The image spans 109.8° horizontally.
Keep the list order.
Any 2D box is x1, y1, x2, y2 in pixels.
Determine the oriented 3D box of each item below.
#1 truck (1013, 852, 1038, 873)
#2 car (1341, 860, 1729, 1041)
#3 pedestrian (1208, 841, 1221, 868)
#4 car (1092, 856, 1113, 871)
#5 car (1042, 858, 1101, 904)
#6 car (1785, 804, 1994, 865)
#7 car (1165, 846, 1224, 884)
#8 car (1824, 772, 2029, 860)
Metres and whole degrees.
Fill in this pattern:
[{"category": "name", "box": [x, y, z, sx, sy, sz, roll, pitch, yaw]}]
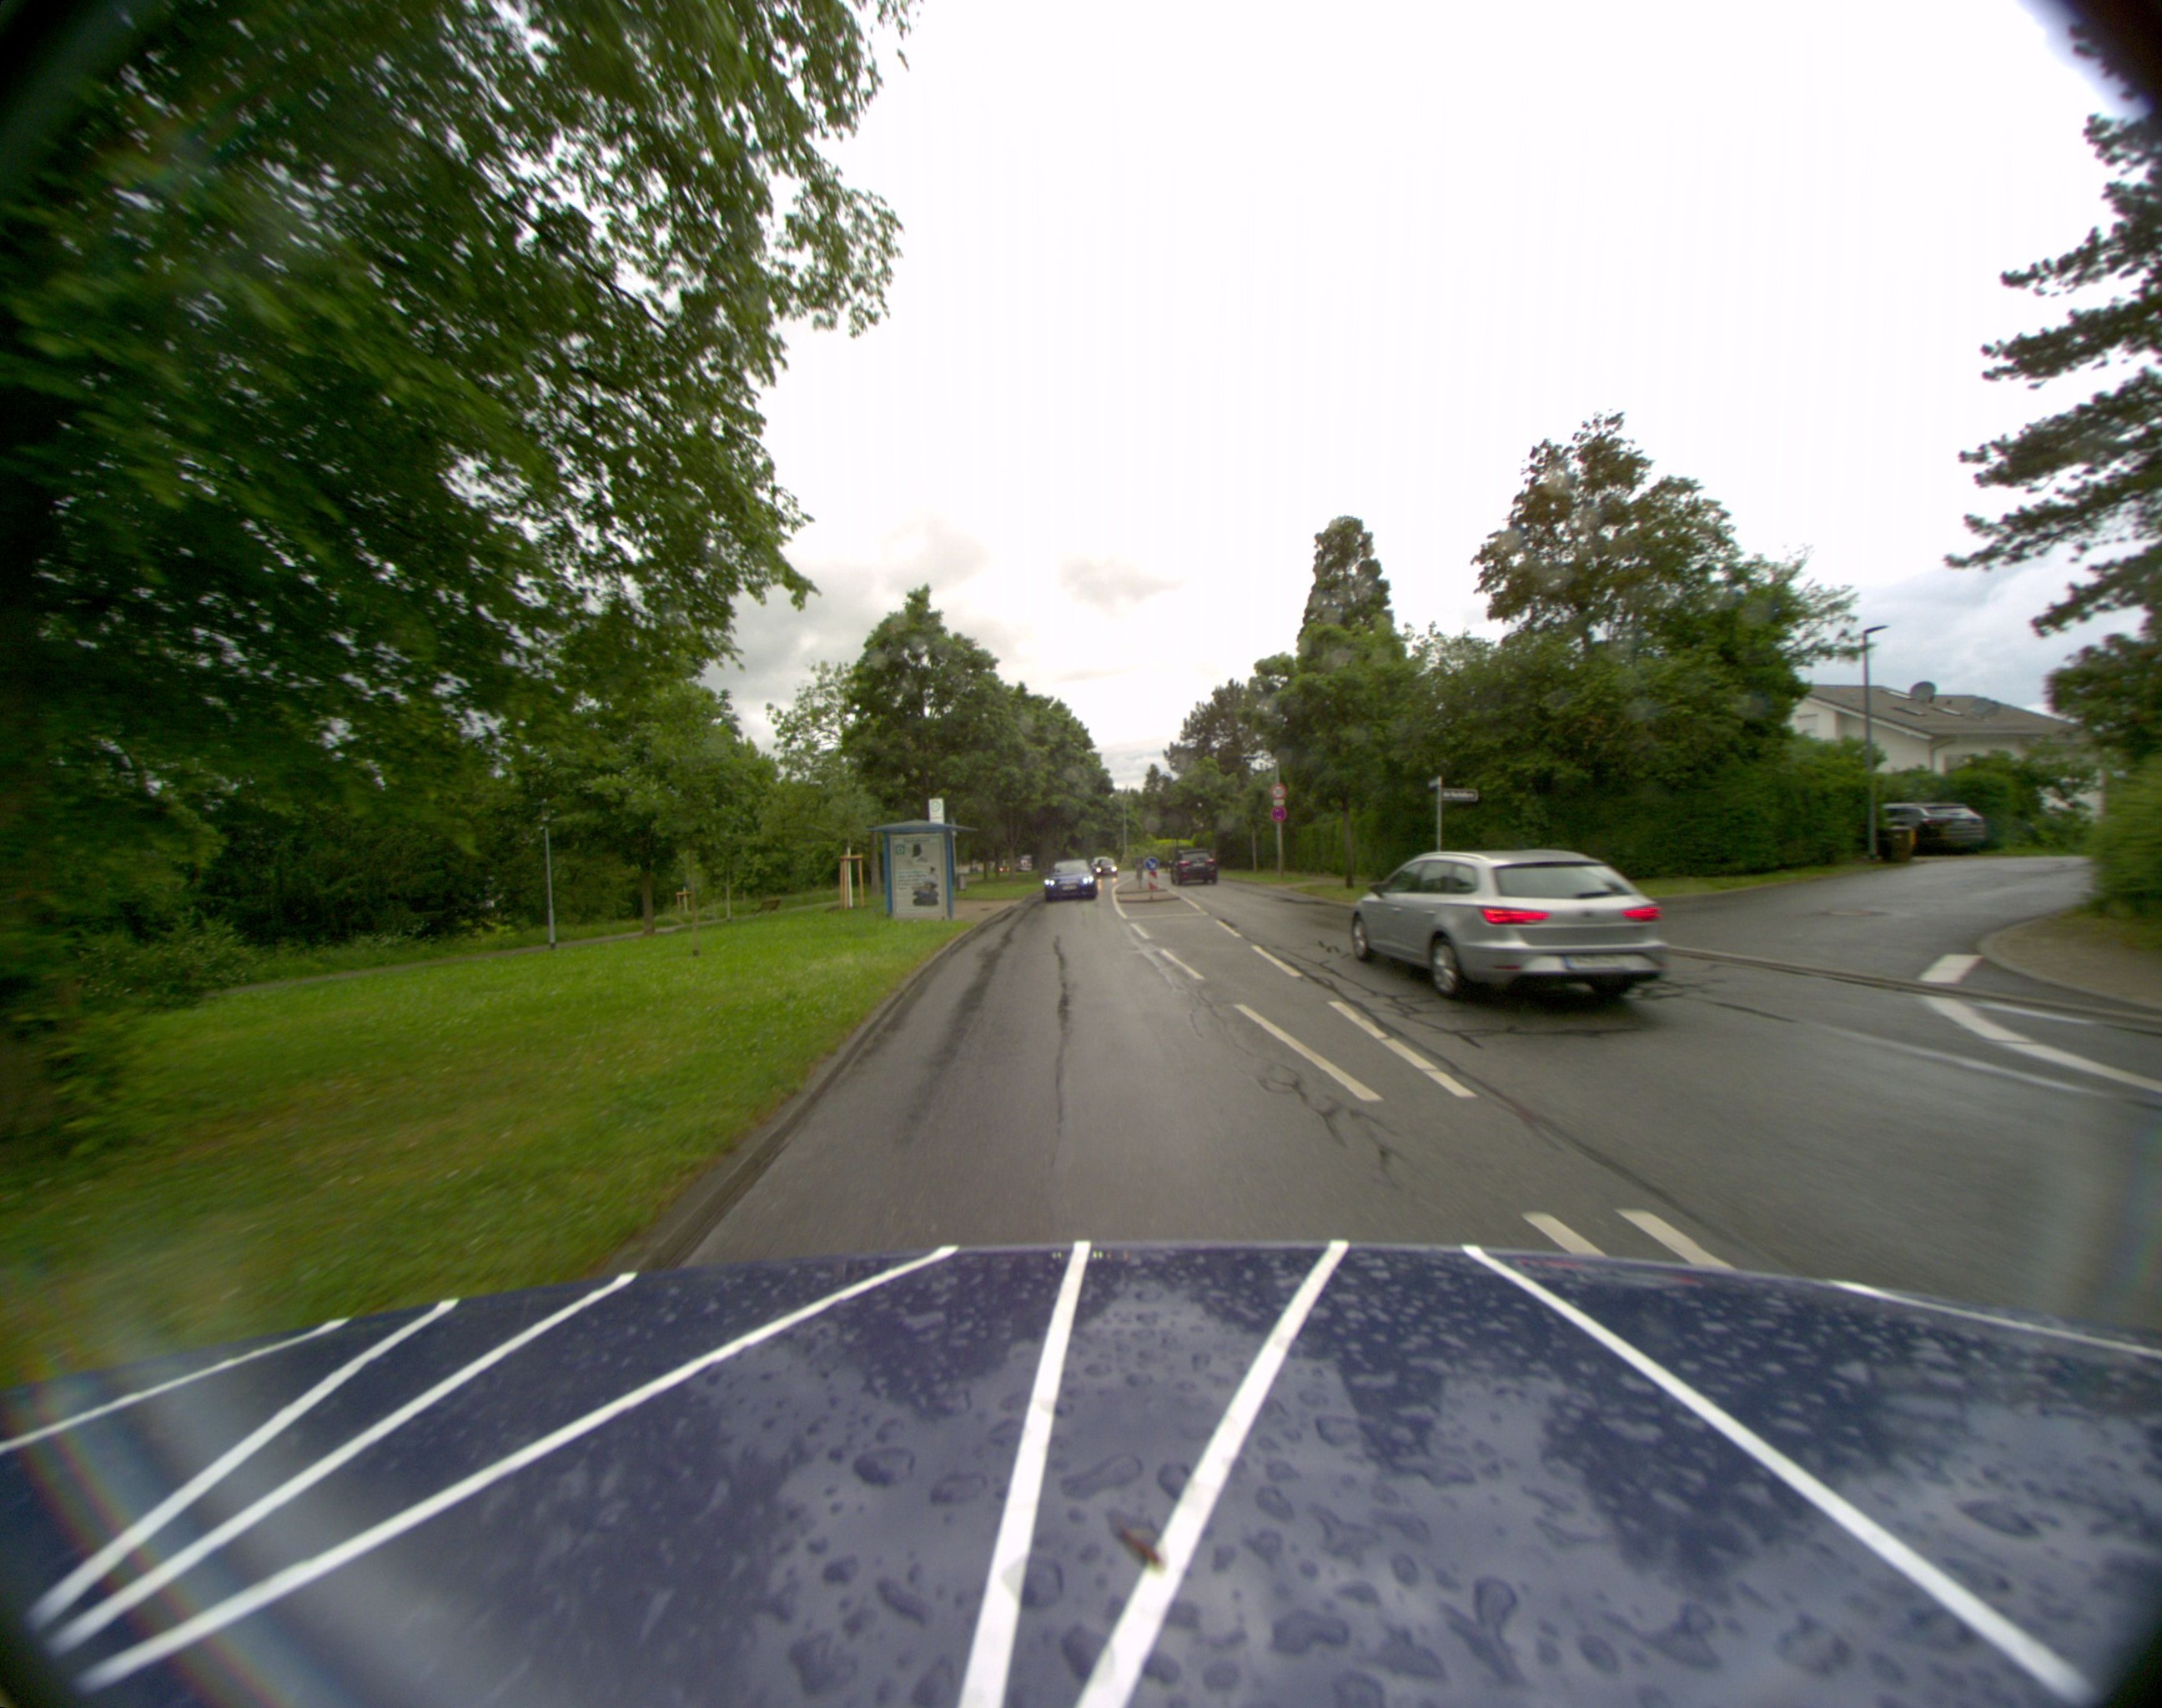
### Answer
[{"category": "truck", "box": [-8.552, 1.302, 117.162, 2.149, 3.028, 5.159, -4, 0, -22]}, {"category": "car", "box": [4.437, 0.808, 8.367, 1.794, 1.414, 4.359, -1, 0, 2]}, {"category": "pedestrian", "box": [9.537, 0.050, 54.189, 0.712, 1.820, 0.881, -6, 0, 6]}, {"category": "car", "box": [3.131, 1.410, 112.176, 2.000, 2.077, 3.996, -4, 0, -12]}, {"category": "car", "box": [-0.290, 0.982, 28.936, 1.839, 1.502, 4.001, -3, 0, 4]}, {"category": "car", "box": [25.643, -0.557, 24.319, 1.849, 1.705, 4.152, -3, 0, -15]}, {"category": "car", "box": [5.206, 0.493, 35.365, 1.999, 1.568, 3.999, -3, 0, -1]}, {"category": "car", "box": [27.803, -1.155, 25.184, 2.000, 2.564, 3.996, -4, 0, -12]}]
